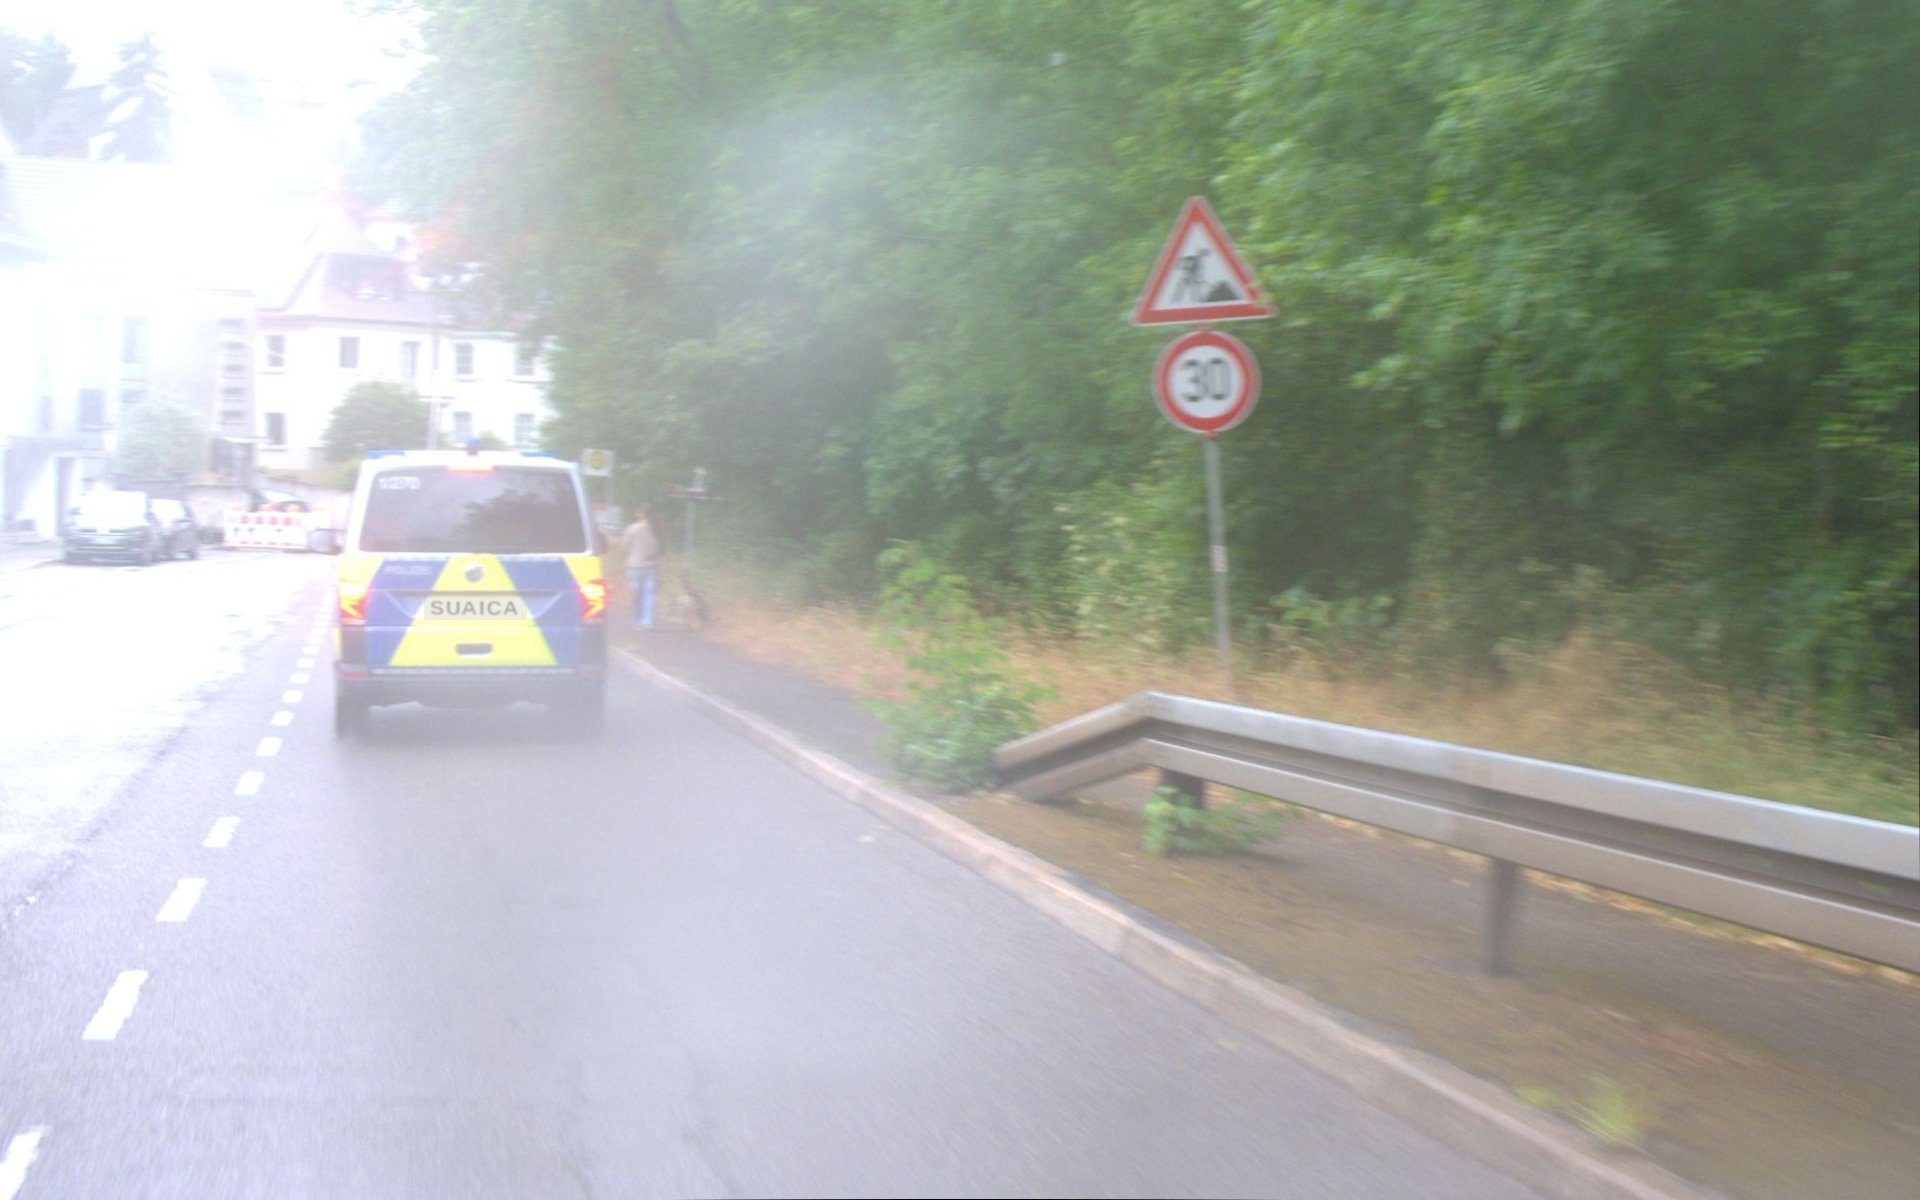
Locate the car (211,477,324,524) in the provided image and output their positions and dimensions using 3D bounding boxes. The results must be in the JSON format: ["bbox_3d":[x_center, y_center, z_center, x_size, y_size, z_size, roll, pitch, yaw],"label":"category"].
[{"bbox_3d":[-24.034,-3.448,119.292,3.997,1.438,1.835,5,3,43],"label":"car"}]

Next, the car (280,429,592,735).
[{"bbox_3d":[-3.702,-0.133,24.965,1.993,2.007,4.402,1,0,-6],"label":"car"}]

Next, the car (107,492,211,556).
[{"bbox_3d":[-19.476,-1.875,83.684,1.616,1.435,4.231,2,2,-2],"label":"car"}]

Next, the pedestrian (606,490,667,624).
[{"bbox_3d":[-3.943,-0.525,41.874,0.641,1.605,0.670,1,0,-10],"label":"pedestrian"}]

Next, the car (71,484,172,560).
[{"bbox_3d":[-19.059,-1.802,78.294,1.754,1.653,4.406,0,2,-8],"label":"car"}]
